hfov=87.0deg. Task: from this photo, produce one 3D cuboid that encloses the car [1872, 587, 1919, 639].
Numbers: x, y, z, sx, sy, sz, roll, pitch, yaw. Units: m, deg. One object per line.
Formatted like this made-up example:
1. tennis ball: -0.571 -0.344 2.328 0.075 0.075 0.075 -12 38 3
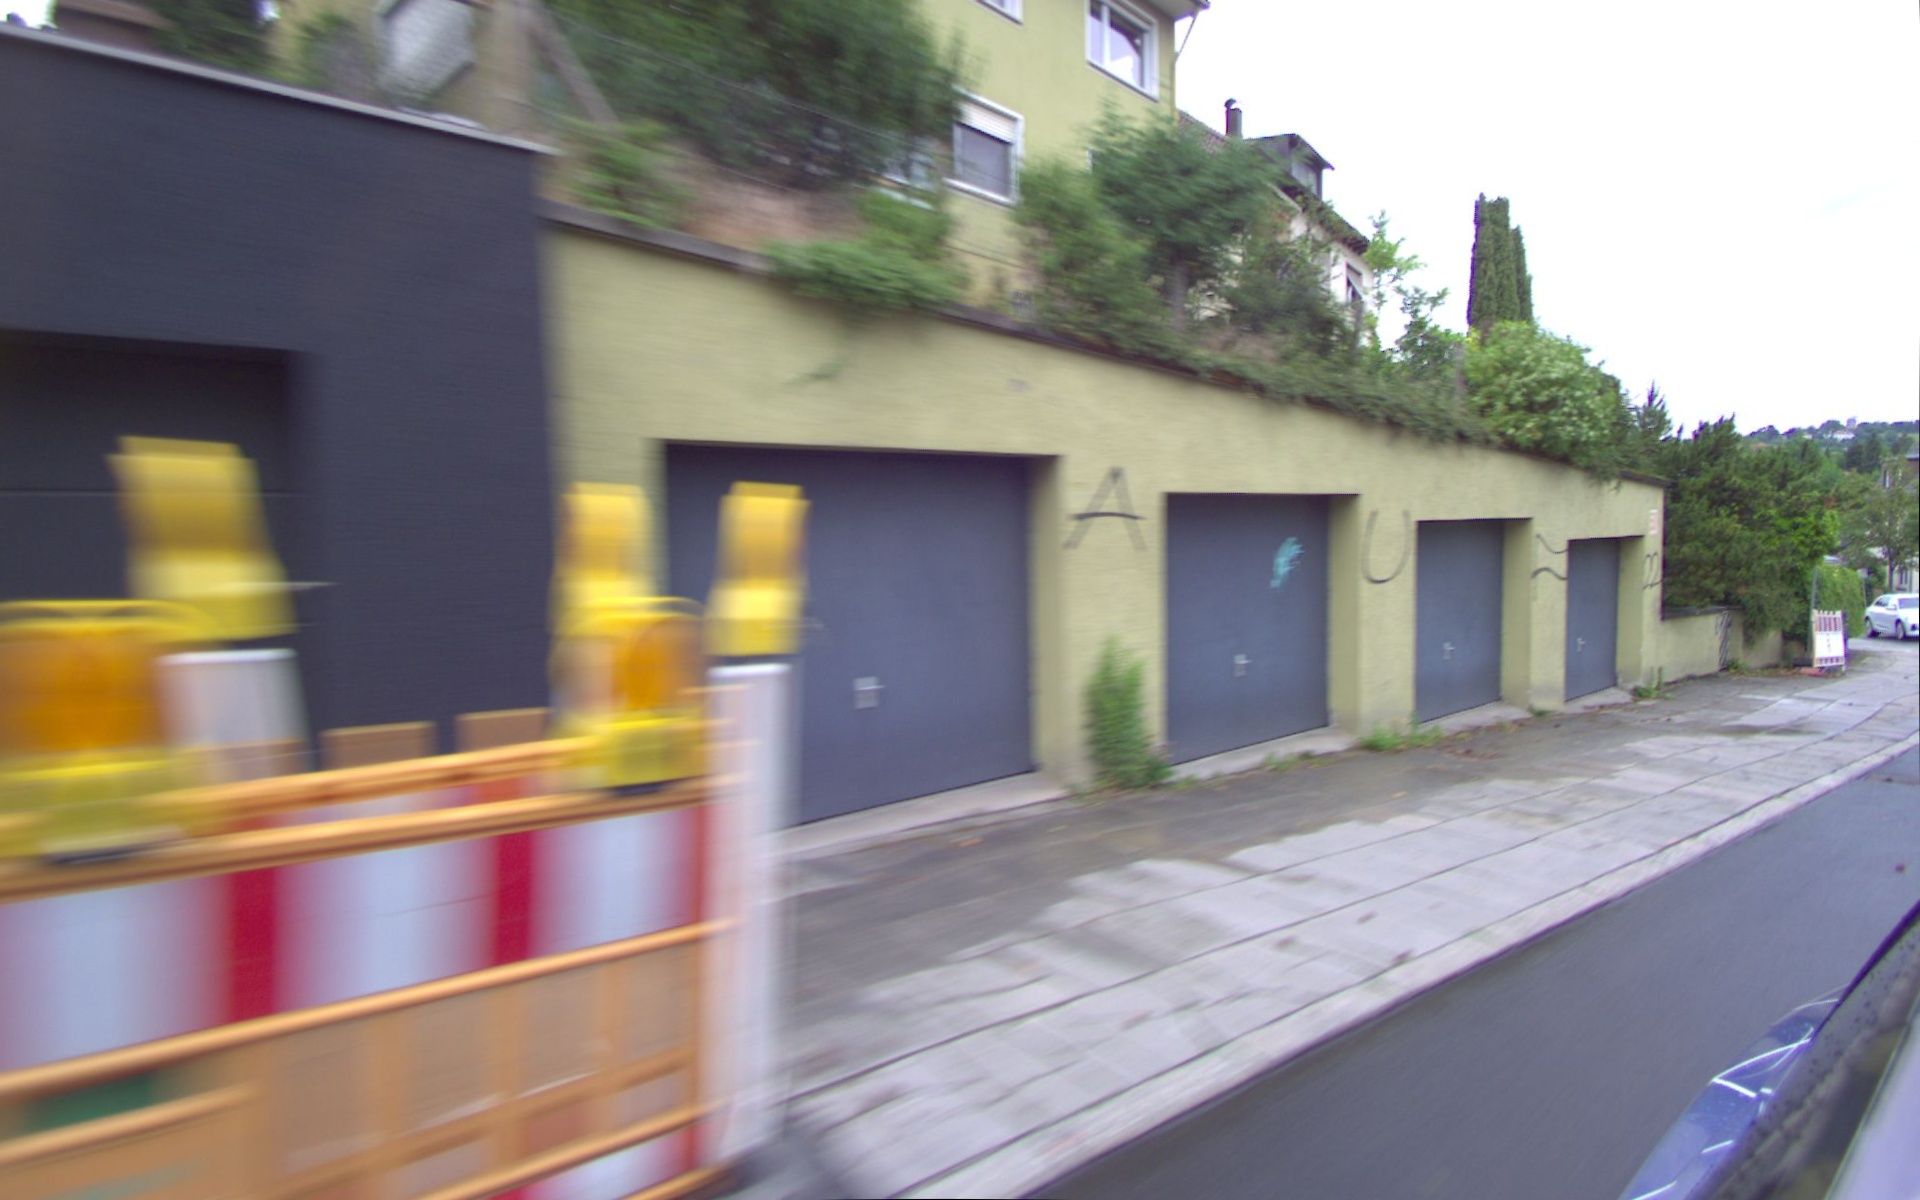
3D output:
1. car: 34.545 0.440 35.948 1.982 1.730 4.533 1 1 26
